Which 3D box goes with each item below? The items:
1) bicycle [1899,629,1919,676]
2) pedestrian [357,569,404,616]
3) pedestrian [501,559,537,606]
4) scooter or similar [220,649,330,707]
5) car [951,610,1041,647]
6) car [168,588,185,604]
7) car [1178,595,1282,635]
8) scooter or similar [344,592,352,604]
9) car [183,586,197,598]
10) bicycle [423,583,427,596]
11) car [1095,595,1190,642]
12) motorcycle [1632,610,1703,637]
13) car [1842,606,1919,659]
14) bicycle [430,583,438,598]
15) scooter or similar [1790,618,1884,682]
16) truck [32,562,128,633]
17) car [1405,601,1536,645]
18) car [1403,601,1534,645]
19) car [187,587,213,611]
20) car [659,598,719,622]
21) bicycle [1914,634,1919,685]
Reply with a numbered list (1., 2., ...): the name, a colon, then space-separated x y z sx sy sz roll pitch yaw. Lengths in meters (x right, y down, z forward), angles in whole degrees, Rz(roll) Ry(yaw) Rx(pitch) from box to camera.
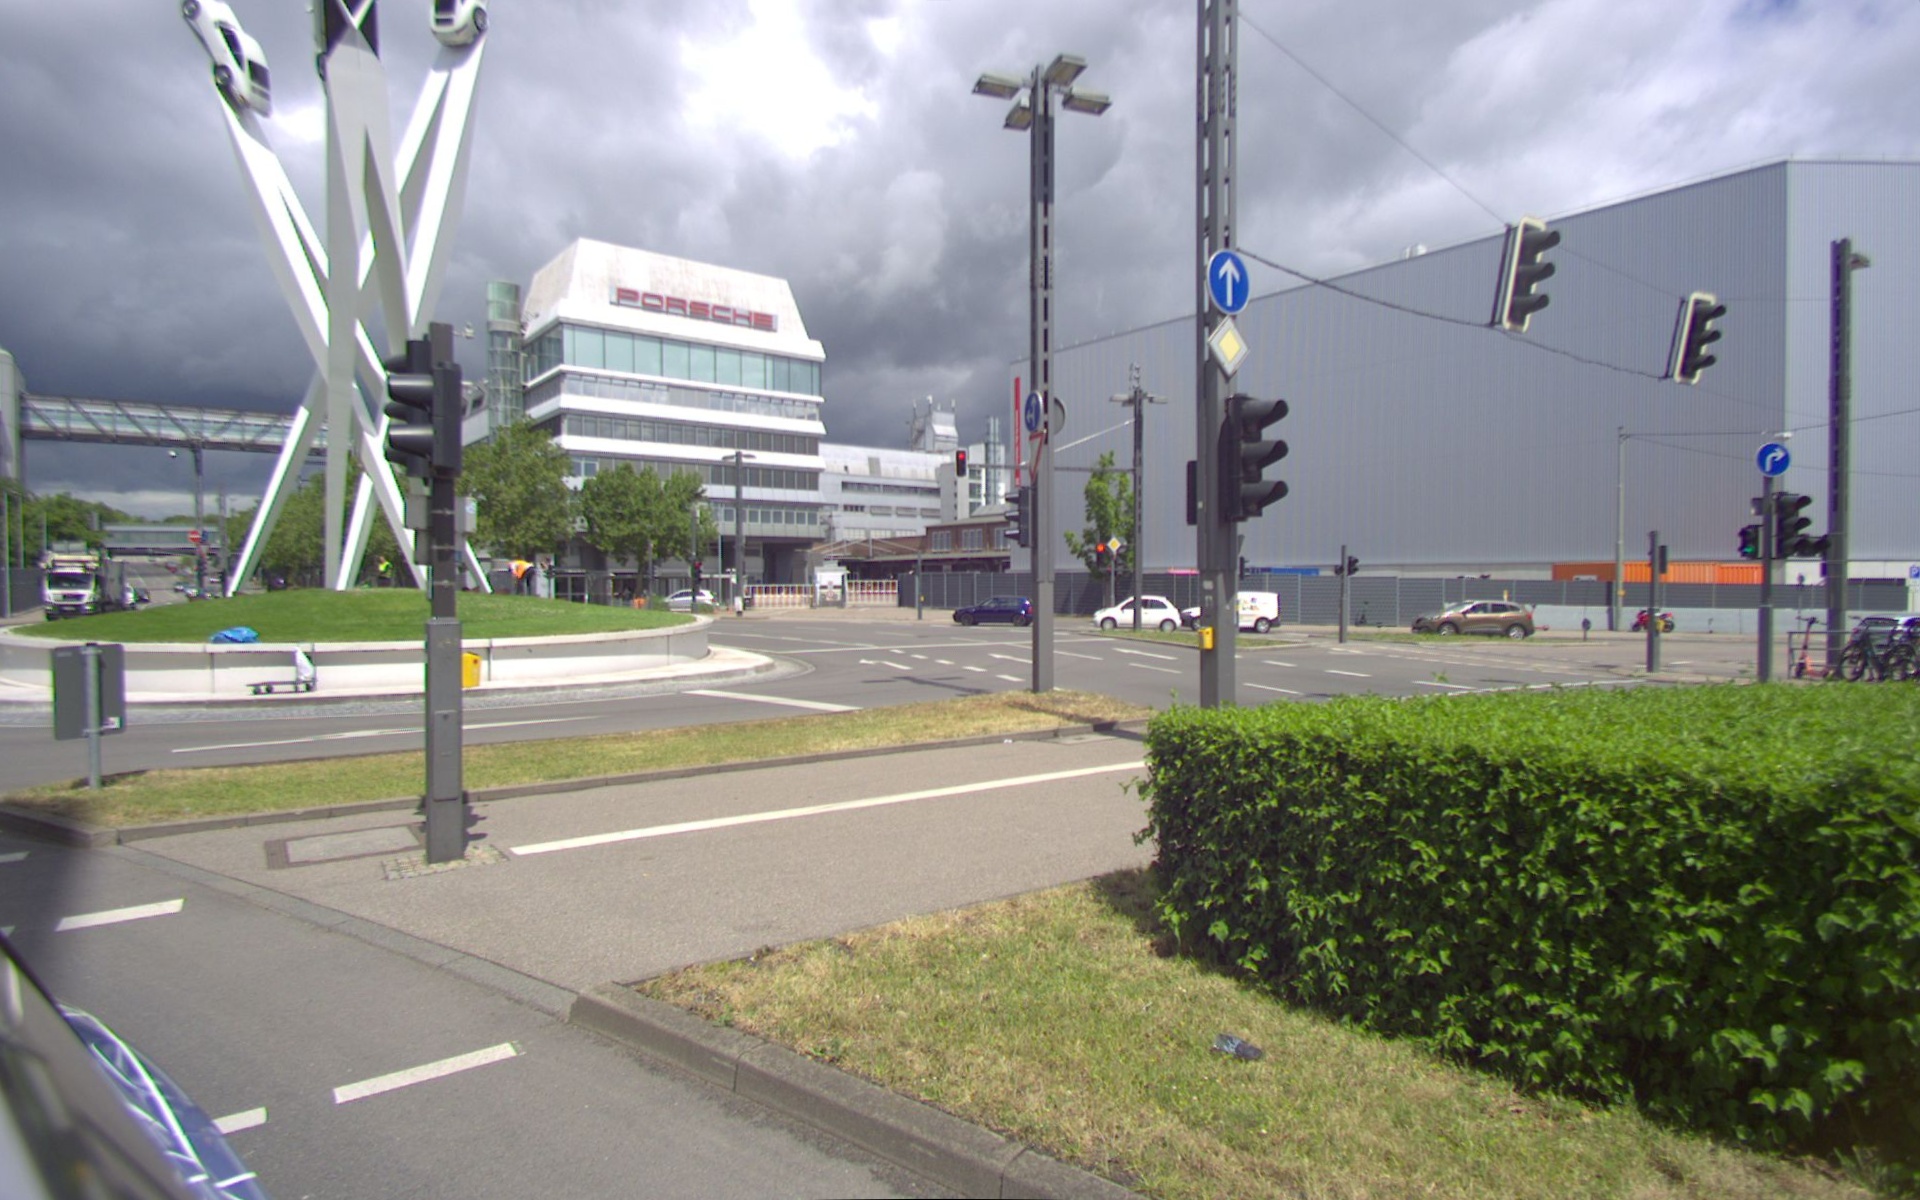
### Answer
1. bicycle: 19.455 1.021 19.898 1.586 0.873 0.493 -1 2 -4
2. pedestrian: -22.861 -0.291 39.941 0.984 1.830 1.270 1 0 35
3. pedestrian: -14.241 -0.563 32.736 0.841 1.417 0.968 6 0 -17
4. scooter or similar: -11.429 1.290 16.921 1.242 0.854 0.910 -1 1 -7
5. car: 1.722 1.311 47.467 3.921 1.568 1.795 0 3 15
6. car: -112.127 -0.584 144.834 1.843 1.970 4.722 -3 4 -38
7. car: 11.988 0.674 45.211 4.241 1.636 1.995 0 2 8
8. scooter or similar: -65.443 -0.212 108.274 0.516 1.244 1.320 -5 3 -37
9. car: -141.781 -1.492 186.320 1.843 1.970 4.722 -3 4 -38
10. bicycle: -44.579 -0.896 84.288 0.292 1.013 1.256 -2 3 -28
11. car: 7.489 0.737 41.759 3.733 1.810 1.907 0 2 9
12. motorcycle: 34.407 1.128 49.248 2.715 1.238 0.953 0 2 3
13. car: 32.399 1.048 33.908 3.941 1.588 2.002 -1 2 -3
14. bicycle: -40.991 -0.758 78.906 0.292 1.139 1.488 -2 3 -35
15. scooter or similar: 17.037 0.976 19.710 0.496 1.190 1.629 0 -3 6
16. truck: -52.684 -0.212 60.894 2.669 3.914 10.773 0 1 -32
17. car: 20.007 0.883 39.817 4.181 1.556 1.811 -1 2 4
18. car: 19.948 0.894 39.823 4.170 1.568 1.823 -1 2 4
19. car: -71.501 -0.144 95.197 1.843 1.970 4.722 -3 4 -38
20. car: -18.289 0.657 68.323 3.558 1.492 1.813 -1 2 -1
21. bicycle: 16.658 1.017 16.610 0.486 0.873 1.610 -1 0 2
